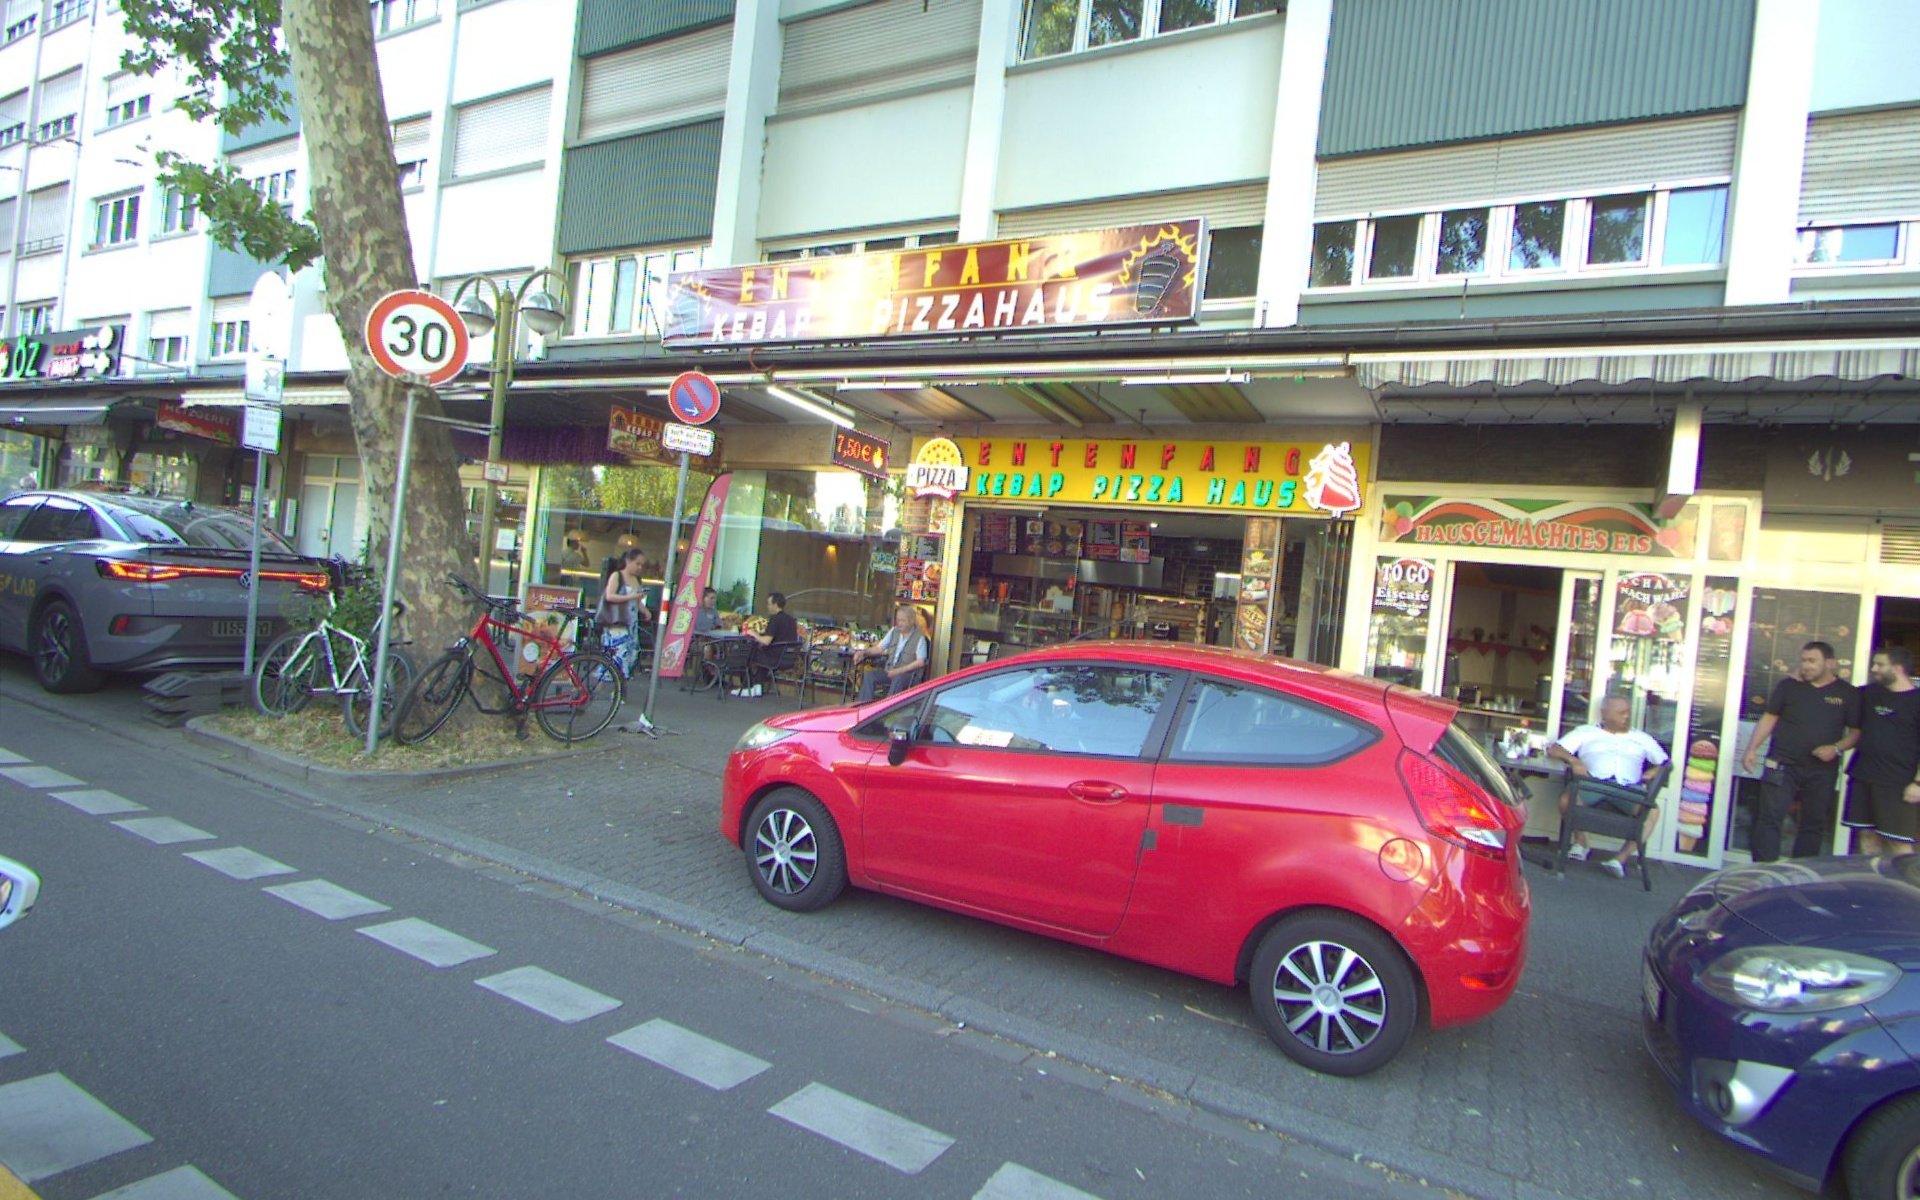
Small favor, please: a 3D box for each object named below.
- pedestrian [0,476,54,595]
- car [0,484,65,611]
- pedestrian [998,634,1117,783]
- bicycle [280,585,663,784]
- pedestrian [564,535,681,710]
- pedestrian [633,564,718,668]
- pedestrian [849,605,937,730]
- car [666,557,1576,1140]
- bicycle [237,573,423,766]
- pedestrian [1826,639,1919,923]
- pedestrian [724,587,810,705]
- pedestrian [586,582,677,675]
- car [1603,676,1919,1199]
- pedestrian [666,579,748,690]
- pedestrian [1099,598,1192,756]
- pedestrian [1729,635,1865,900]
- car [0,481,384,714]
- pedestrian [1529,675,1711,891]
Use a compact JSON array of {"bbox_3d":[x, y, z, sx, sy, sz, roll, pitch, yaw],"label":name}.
[{"bbox_3d":[-13.953,-0.952,14.944,0.661,1.688,0.593,4,2,-42],"label":"pedestrian"},{"bbox_3d":[-14.419,-0.914,13.601,4.292,1.603,1.996,7,2,27],"label":"car"},{"bbox_3d":[0.911,0.976,9.333,0.798,1.225,0.654,7,2,28],"label":"pedestrian"},{"bbox_3d":[-3.331,0.522,7.102,0.547,1.171,2.377,7,4,44],"label":"bicycle"},{"bbox_3d":[-3.449,0.231,10.284,0.783,1.667,0.583,8,1,30],"label":"pedestrian"},{"bbox_3d":[-4.070,0.220,14.466,0.958,1.350,0.830,6,0,-9],"label":"pedestrian"},{"bbox_3d":[-0.714,0.716,10.846,0.550,1.252,0.689,7,2,29],"label":"pedestrian"},{"bbox_3d":[0.652,0.790,4.918,3.757,1.617,1.783,6,3,28],"label":"car"},{"bbox_3d":[-4.553,0.468,7.240,1.421,1.169,0.553,6,0,36],"label":"bicycle"},{"bbox_3d":[6.362,1.197,6.782,0.391,1.805,0.552,4,2,-29],"label":"pedestrian"},{"bbox_3d":[-2.239,0.527,11.664,0.679,1.261,0.558,7,2,33],"label":"pedestrian"},{"bbox_3d":[-4.304,0.363,13.240,0.940,1.094,0.639,7,0,-9],"label":"pedestrian"},{"bbox_3d":[4.085,1.235,2.859,3.549,1.488,1.767,6,3,29],"label":"car"},{"bbox_3d":[-3.071,0.418,12.206,0.680,1.261,0.557,7,2,38],"label":"pedestrian"},{"bbox_3d":[1.987,0.814,10.733,0.589,1.566,0.700,7,0,34],"label":"pedestrian"},{"bbox_3d":[6.048,1.180,7.297,0.547,1.802,0.395,6,2,29],"label":"pedestrian"},{"bbox_3d":[-7.648,-0.153,9.256,4.292,1.603,1.996,7,2,27],"label":"car"},{"bbox_3d":[4.867,1.297,7.512,0.937,1.352,1.069,7,0,30],"label":"pedestrian"}]
